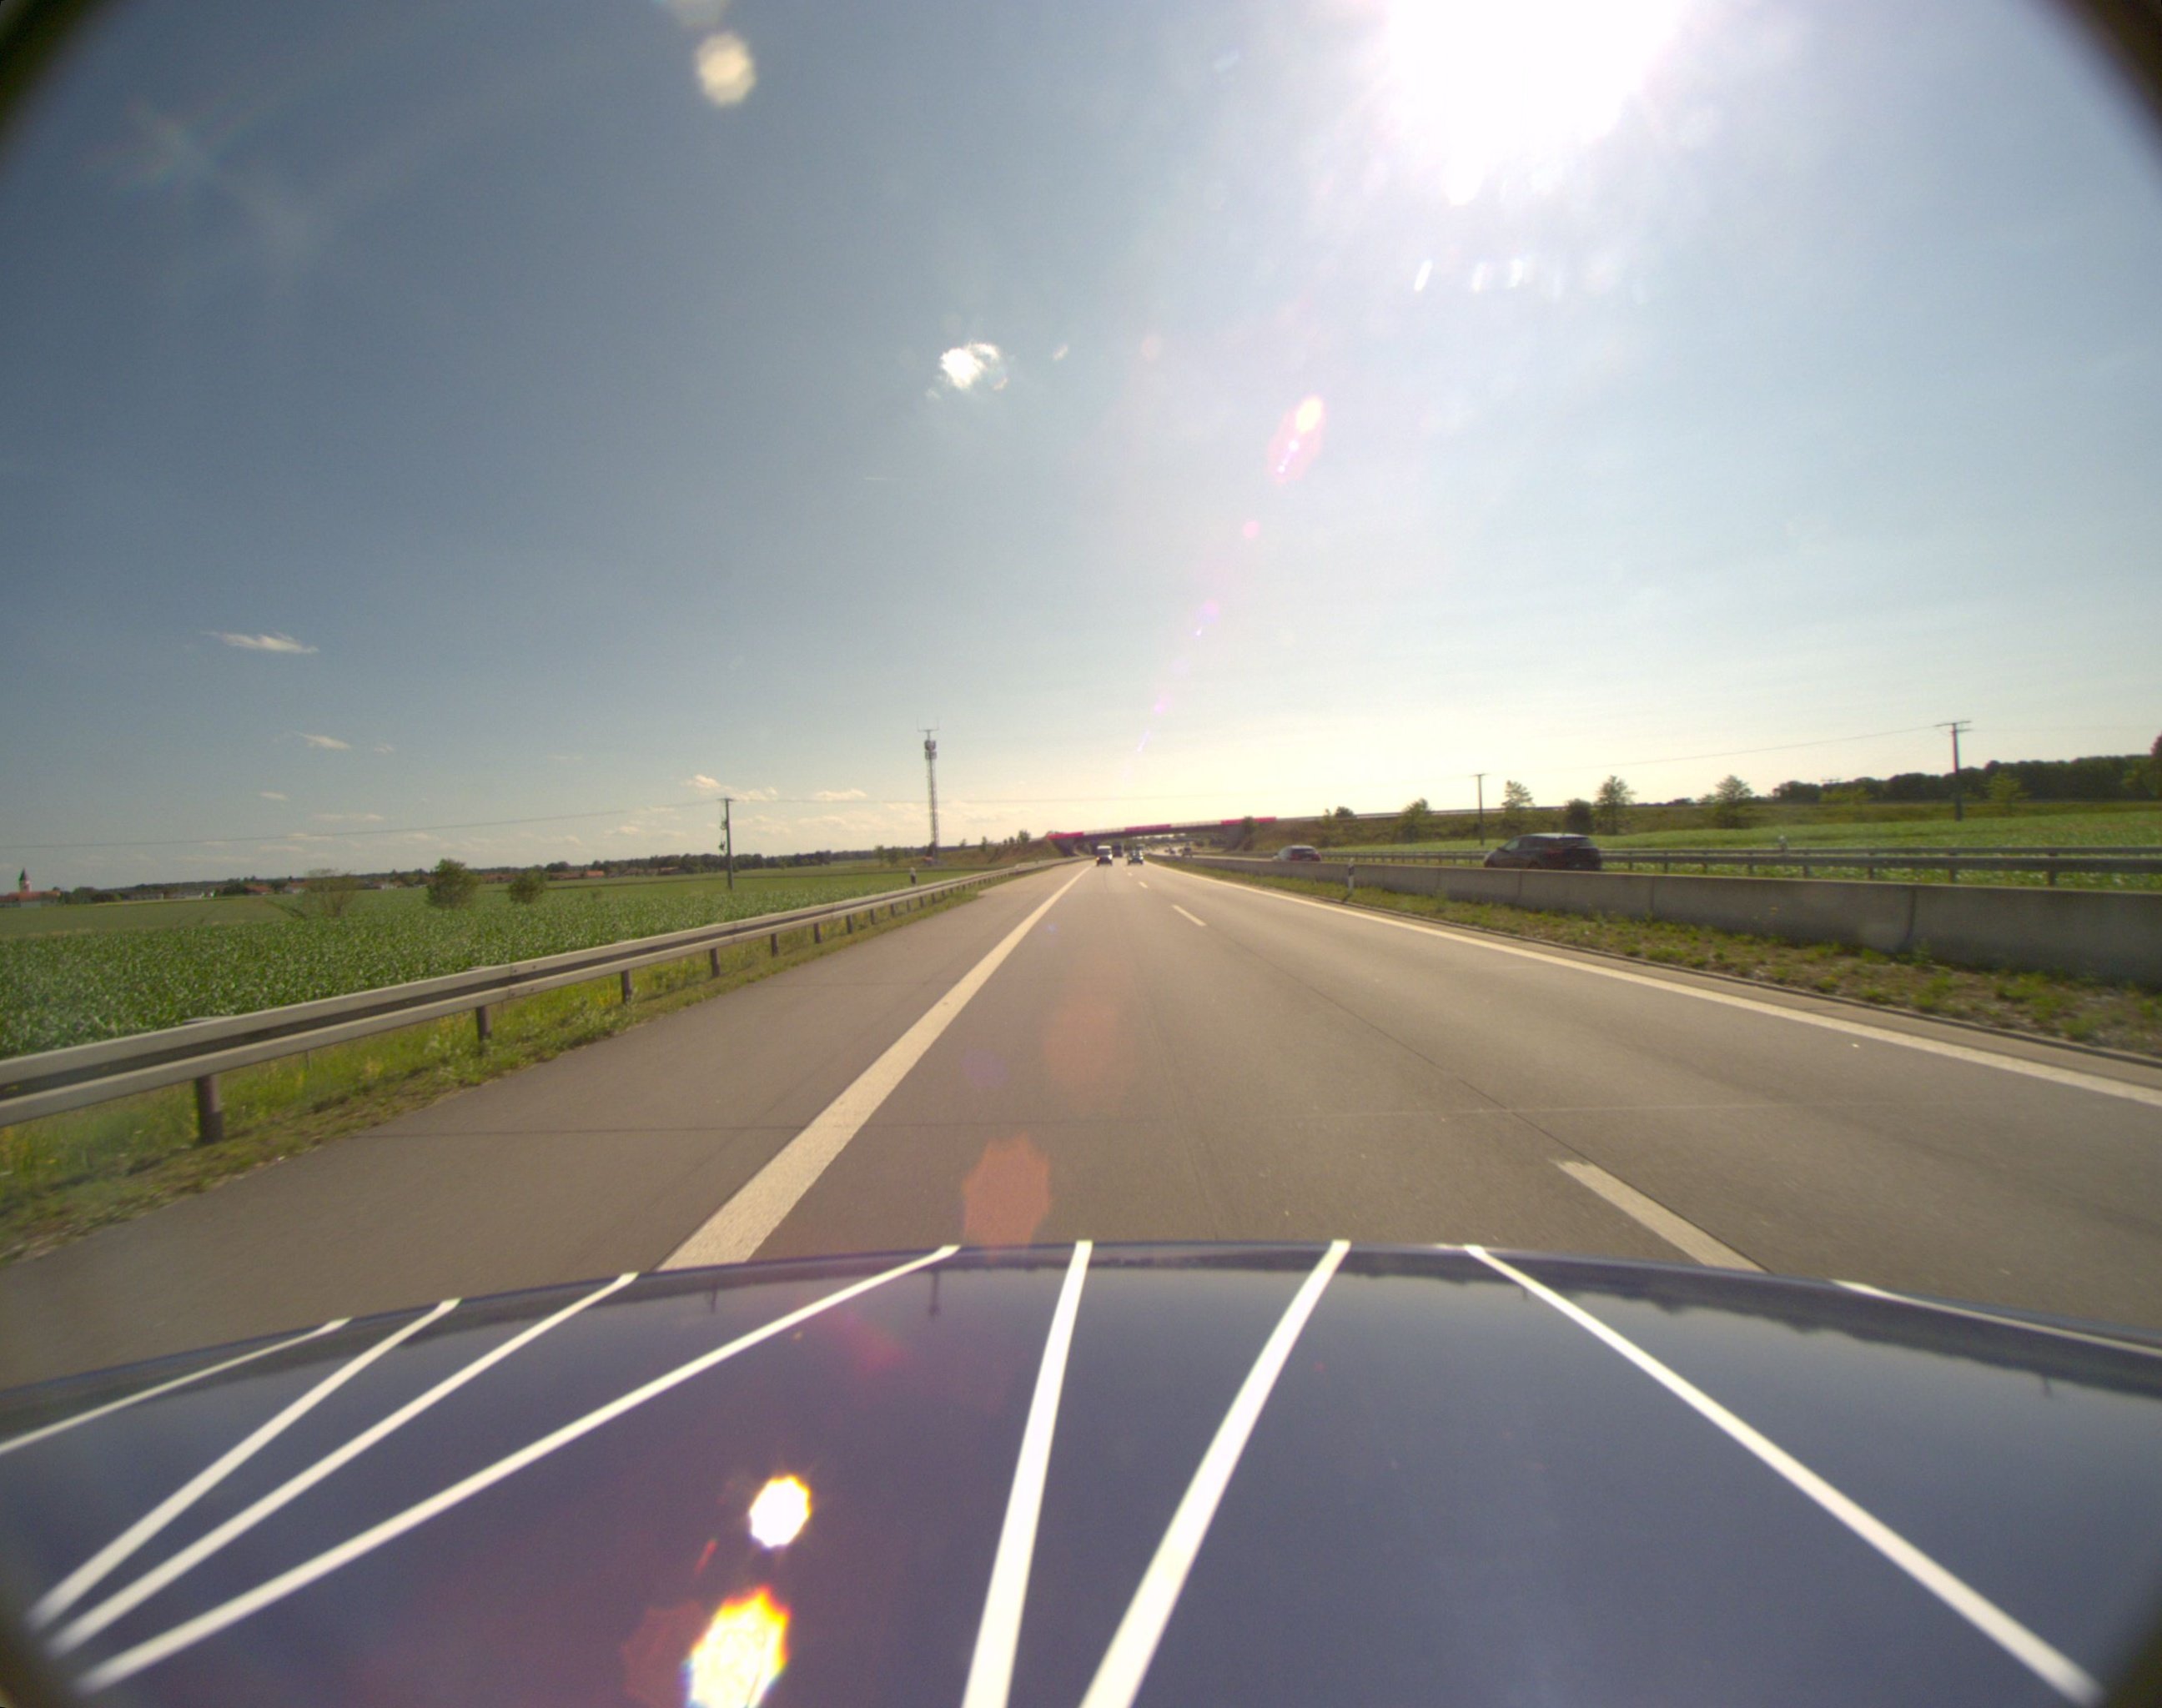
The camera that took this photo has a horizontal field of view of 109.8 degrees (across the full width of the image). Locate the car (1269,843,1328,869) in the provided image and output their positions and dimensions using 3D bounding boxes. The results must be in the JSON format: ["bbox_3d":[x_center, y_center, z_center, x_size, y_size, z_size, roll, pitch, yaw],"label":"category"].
[{"bbox_3d":[12.157,0.105,42.779,1.827,1.357,5.197,-1,0,1],"label":"car"}]

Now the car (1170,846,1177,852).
[{"bbox_3d":[26.682,-1.463,219.120,1.863,1.505,4.586,-4,0,3],"label":"car"}]

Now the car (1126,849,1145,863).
[{"bbox_3d":[6.562,0.194,92.050,2.030,1.600,4.818,-2,1,1],"label":"car"}]

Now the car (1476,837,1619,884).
[{"bbox_3d":[15.033,0.196,24.827,1.827,1.357,4.663,-1,0,1],"label":"car"}]

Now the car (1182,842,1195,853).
[{"bbox_3d":[21.385,-1.291,151.344,1.998,2.002,5.613,-2,1,2],"label":"car"}]

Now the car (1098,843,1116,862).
[{"bbox_3d":[3.165,-0.184,92.109,2.030,2.225,4.818,-2,1,3],"label":"car"}]

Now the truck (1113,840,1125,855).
[{"bbox_3d":[10.330,-1.878,206.447,2.762,3.792,7.517,-3,1,2],"label":"truck"}]
